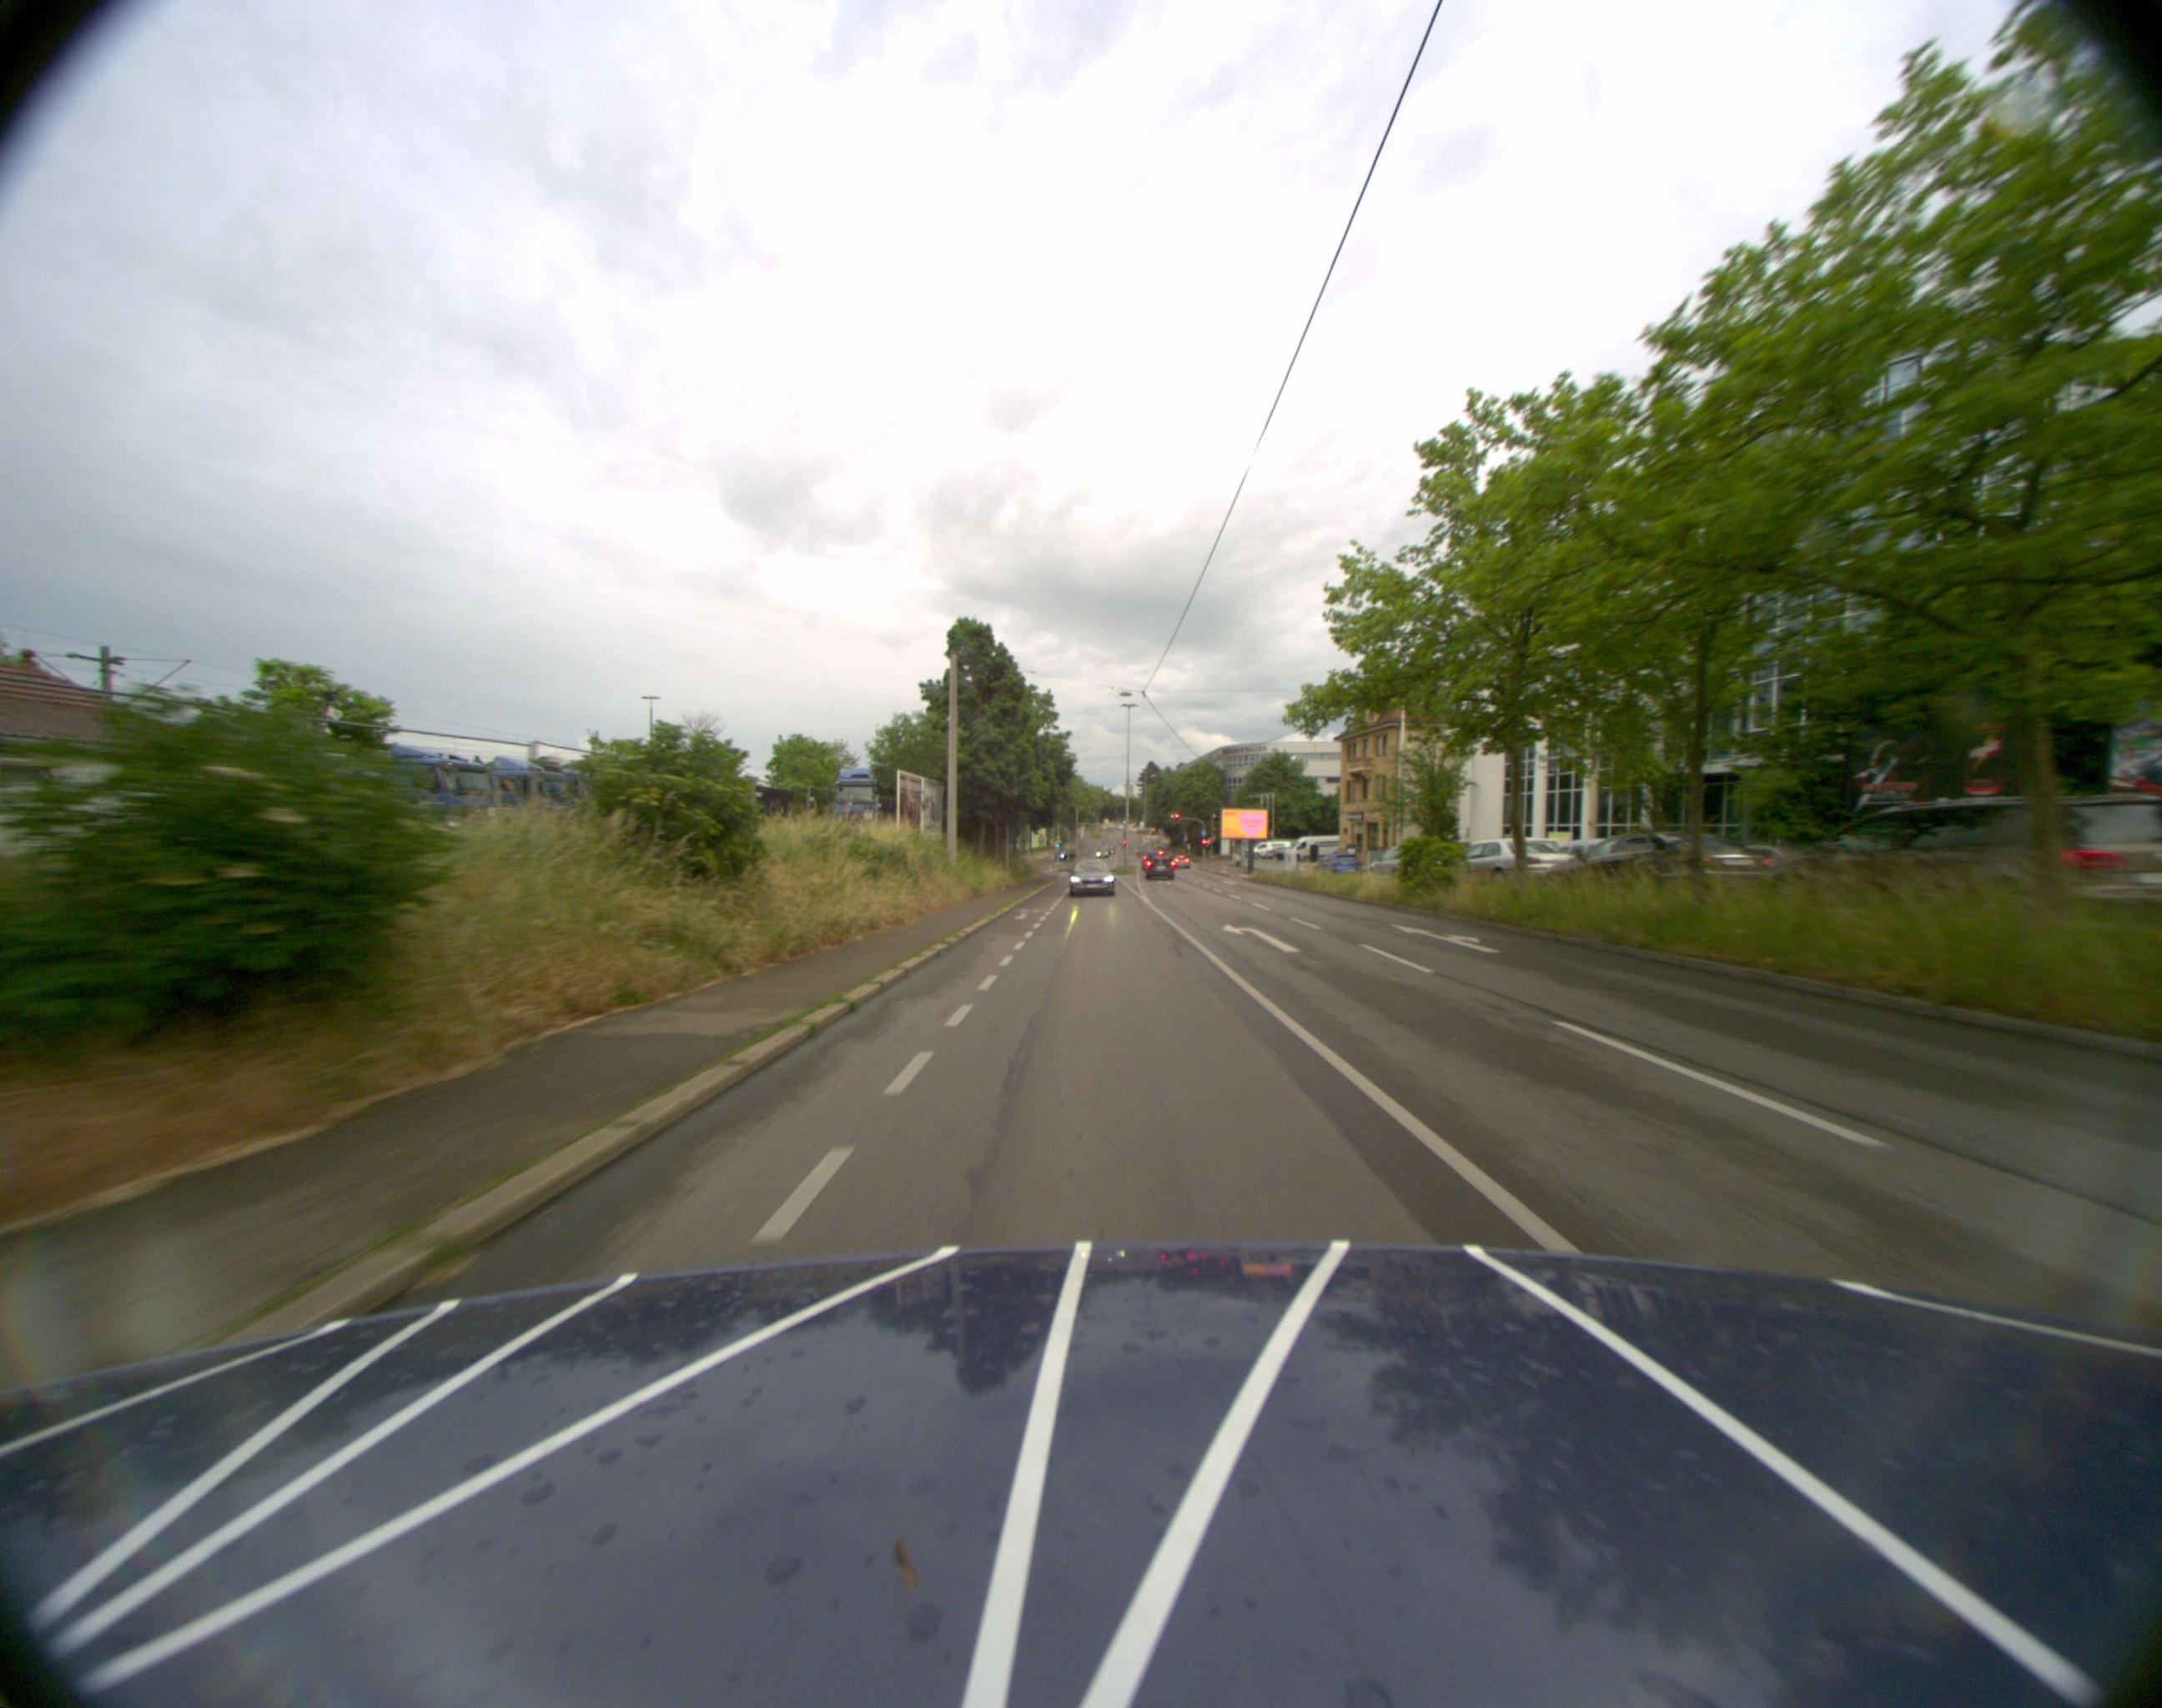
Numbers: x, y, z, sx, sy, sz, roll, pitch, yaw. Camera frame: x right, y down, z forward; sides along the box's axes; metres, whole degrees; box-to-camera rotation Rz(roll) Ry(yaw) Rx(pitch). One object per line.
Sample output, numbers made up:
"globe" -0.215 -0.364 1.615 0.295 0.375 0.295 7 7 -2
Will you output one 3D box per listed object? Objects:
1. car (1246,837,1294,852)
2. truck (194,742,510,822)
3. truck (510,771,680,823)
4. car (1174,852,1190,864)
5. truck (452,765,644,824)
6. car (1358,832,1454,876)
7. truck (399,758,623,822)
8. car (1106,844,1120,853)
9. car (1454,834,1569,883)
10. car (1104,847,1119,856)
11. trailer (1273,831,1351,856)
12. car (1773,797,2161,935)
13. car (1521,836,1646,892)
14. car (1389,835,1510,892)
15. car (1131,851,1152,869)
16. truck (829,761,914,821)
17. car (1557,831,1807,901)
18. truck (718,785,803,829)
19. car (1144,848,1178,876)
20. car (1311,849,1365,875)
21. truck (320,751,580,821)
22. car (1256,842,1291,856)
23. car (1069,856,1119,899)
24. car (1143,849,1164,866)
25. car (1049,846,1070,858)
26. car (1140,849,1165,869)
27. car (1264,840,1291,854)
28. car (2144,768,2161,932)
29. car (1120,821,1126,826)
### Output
"car" 23.291 -1.159 93.808 5.371 1.792 2.218 0 3 -6
"truck" -25.190 -2.427 26.559 8.319 2.602 2.585 0 3 -1
"truck" -27.192 -3.162 42.738 7.757 2.800 2.585 0 3 -1
"car" 11.007 0.416 83.007 1.380 1.216 2.452 0 2 1
"truck" -26.757 -2.952 38.401 7.730 2.841 2.585 0 3 -1
"car" 11.792 0.015 27.891 1.651 1.469 4.444 0 -1 1
"truck" -25.623 -2.831 34.425 8.026 2.724 2.585 0 3 -1
"car" 5.717 -1.008 134.697 1.750 1.362 3.758 -2 2 14
"car" 16.412 0.193 29.267 1.775 1.735 4.584 0 -1 0
"car" 4.861 -0.417 121.020 1.595 1.253 3.758 -2 2 14
"trailer" 23.229 -1.043 76.735 7.114 2.415 2.394 0 3 1
"car" 11.394 0.052 9.749 1.658 1.444 3.644 0 2 0
"car" 16.396 0.321 25.011 1.596 1.685 3.781 0 -1 0
"car" 10.686 0.278 22.337 1.596 1.531 3.992 0 -1 0
"car" 5.975 0.551 75.021 1.810 1.522 4.440 0 2 2
"truck" -10.544 -3.099 38.918 2.290 2.636 6.050 -6 2 2
"car" 11.647 0.203 15.165 1.702 1.198 4.219 0 0 1
"truck" -24.957 -3.601 59.791 2.256 3.178 9.638 -1 2 1
"car" 5.472 0.530 52.454 2.019 1.856 5.042 0 0 2
"car" 15.739 0.485 46.729 1.692 1.525 4.672 0 -1 -1
"truck" -25.224 -2.670 30.669 8.112 2.640 2.585 0 3 -1
"car" 21.933 -0.577 86.643 3.620 1.361 1.741 -2 2 2
"car" 0.515 0.884 30.059 1.811 1.509 4.052 -2 0 1
"car" 7.793 0.352 81.991 1.938 1.808 5.170 0 1 3
"car" -3.210 -0.313 115.366 1.950 1.535 4.213 -2 2 14
"car" 6.294 0.419 67.124 1.959 1.687 4.626 0 1 3
"car" 21.634 -0.822 83.616 2.684 1.416 1.227 -2 2 2
"car" 17.091 -0.079 8.635 1.968 2.429 5.654 1 -1 -3
"car" 13.588 -9.858 245.649 1.532 1.307 3.231 1 2 6
